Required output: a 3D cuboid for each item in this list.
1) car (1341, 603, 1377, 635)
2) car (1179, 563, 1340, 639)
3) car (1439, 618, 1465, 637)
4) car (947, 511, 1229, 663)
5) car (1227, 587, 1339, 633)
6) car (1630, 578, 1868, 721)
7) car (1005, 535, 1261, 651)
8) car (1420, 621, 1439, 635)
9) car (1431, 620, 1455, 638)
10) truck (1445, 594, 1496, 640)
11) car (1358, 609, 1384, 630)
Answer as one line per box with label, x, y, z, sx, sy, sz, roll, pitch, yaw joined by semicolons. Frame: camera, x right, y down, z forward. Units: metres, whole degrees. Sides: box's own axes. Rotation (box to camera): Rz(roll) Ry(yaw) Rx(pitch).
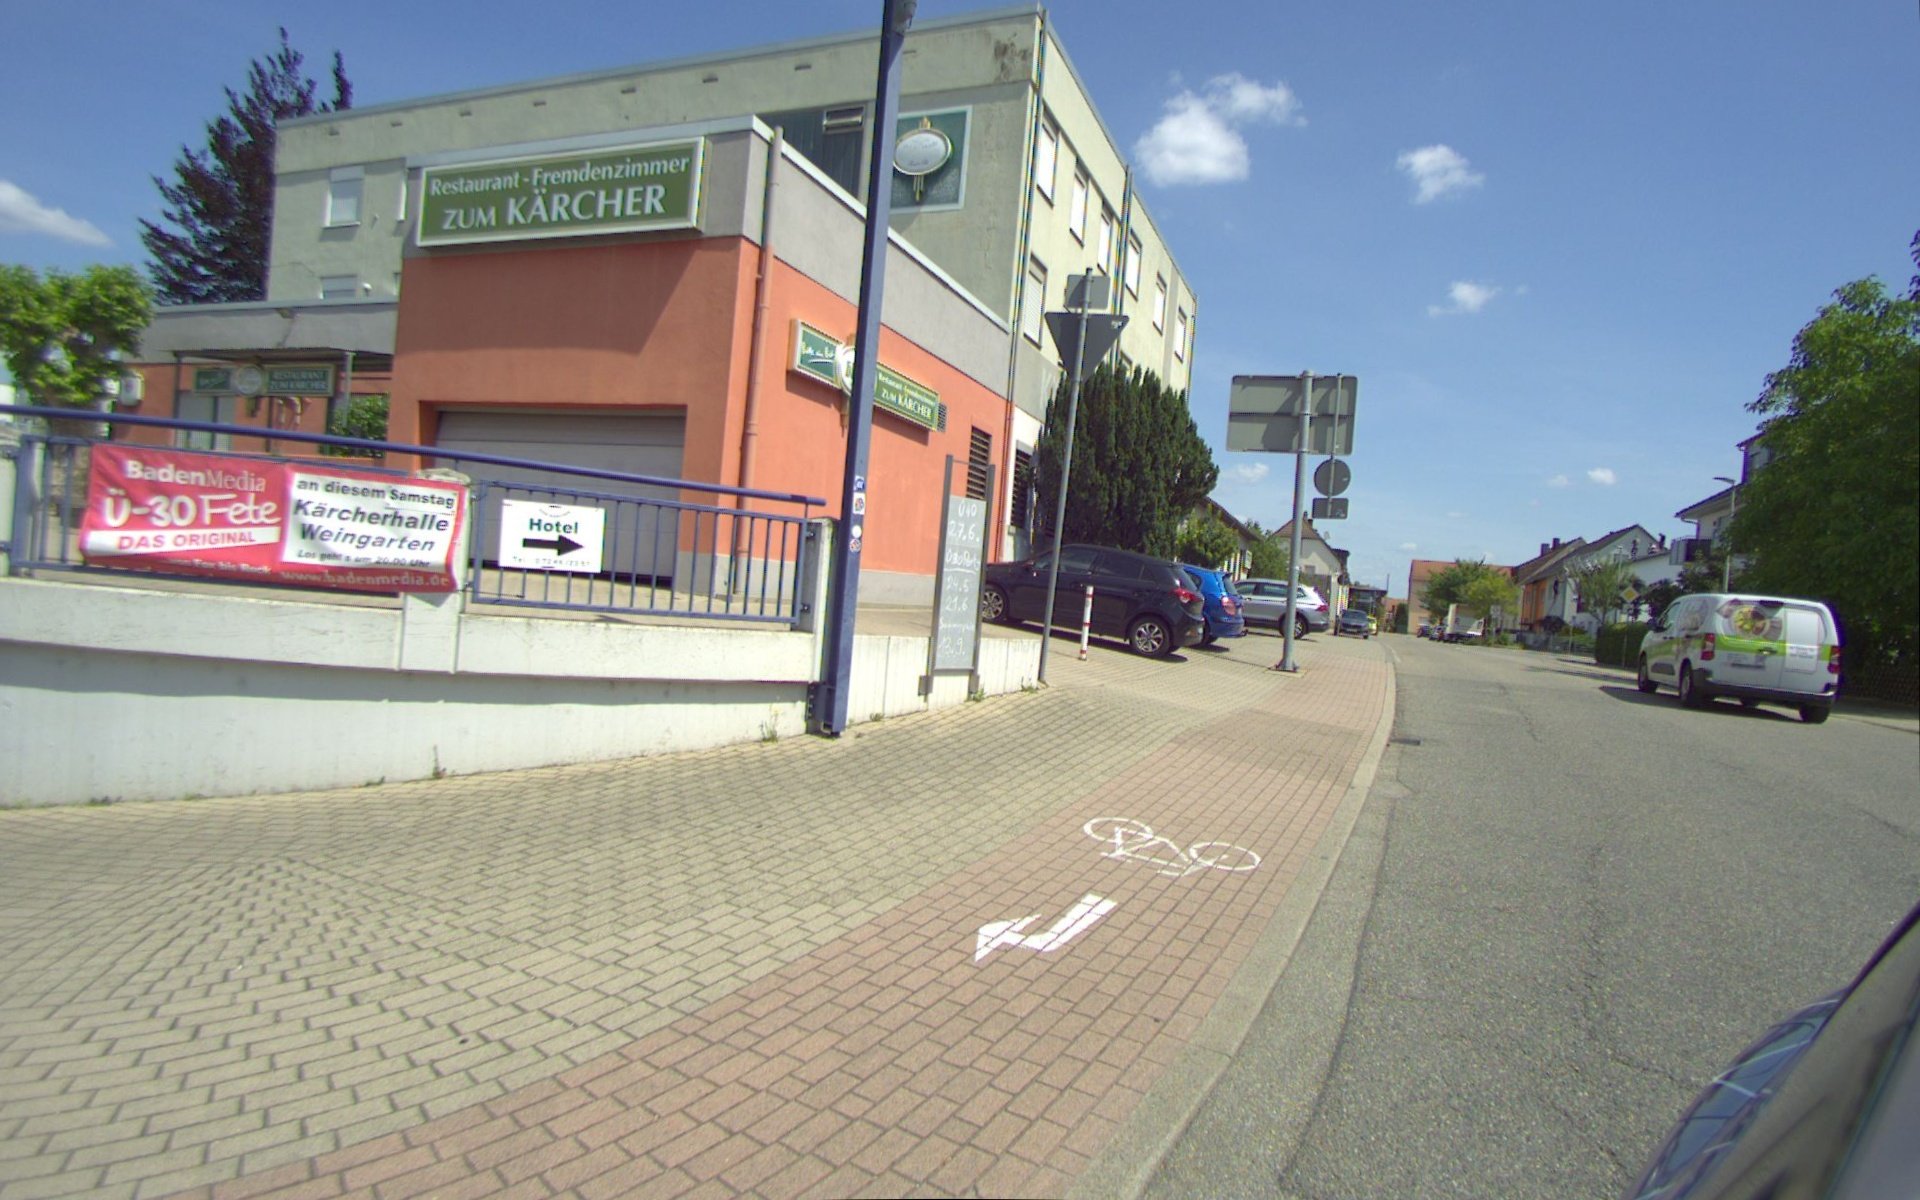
car;21.234;1.005;53.970;1.614;1.507;4.110;6;1;21
car;9.085;0.017;30.718;4.418;1.717;1.909;7;1;21
car;46.401;2.592;95.531;1.703;1.518;4.184;8;2;21
car;2.005;-0.249;15.772;3.868;1.506;1.797;12;5;21
car;14.408;0.437;45.173;4.494;1.471;1.902;7;1;24
car;12.756;0.700;16.731;1.798;1.877;4.524;5;2;22
car;3.203;-0.195;18.785;4.292;1.456;1.767;9;5;22
car;60.014;3.540;129.426;1.703;1.518;4.184;8;2;21
car;48.373;2.875;101.467;1.703;1.518;4.184;8;2;21
truck;41.535;1.404;82.539;2.418;3.284;6.988;9;2;20
car;32.927;1.561;81.072;1.704;1.414;4.182;9;2;22
